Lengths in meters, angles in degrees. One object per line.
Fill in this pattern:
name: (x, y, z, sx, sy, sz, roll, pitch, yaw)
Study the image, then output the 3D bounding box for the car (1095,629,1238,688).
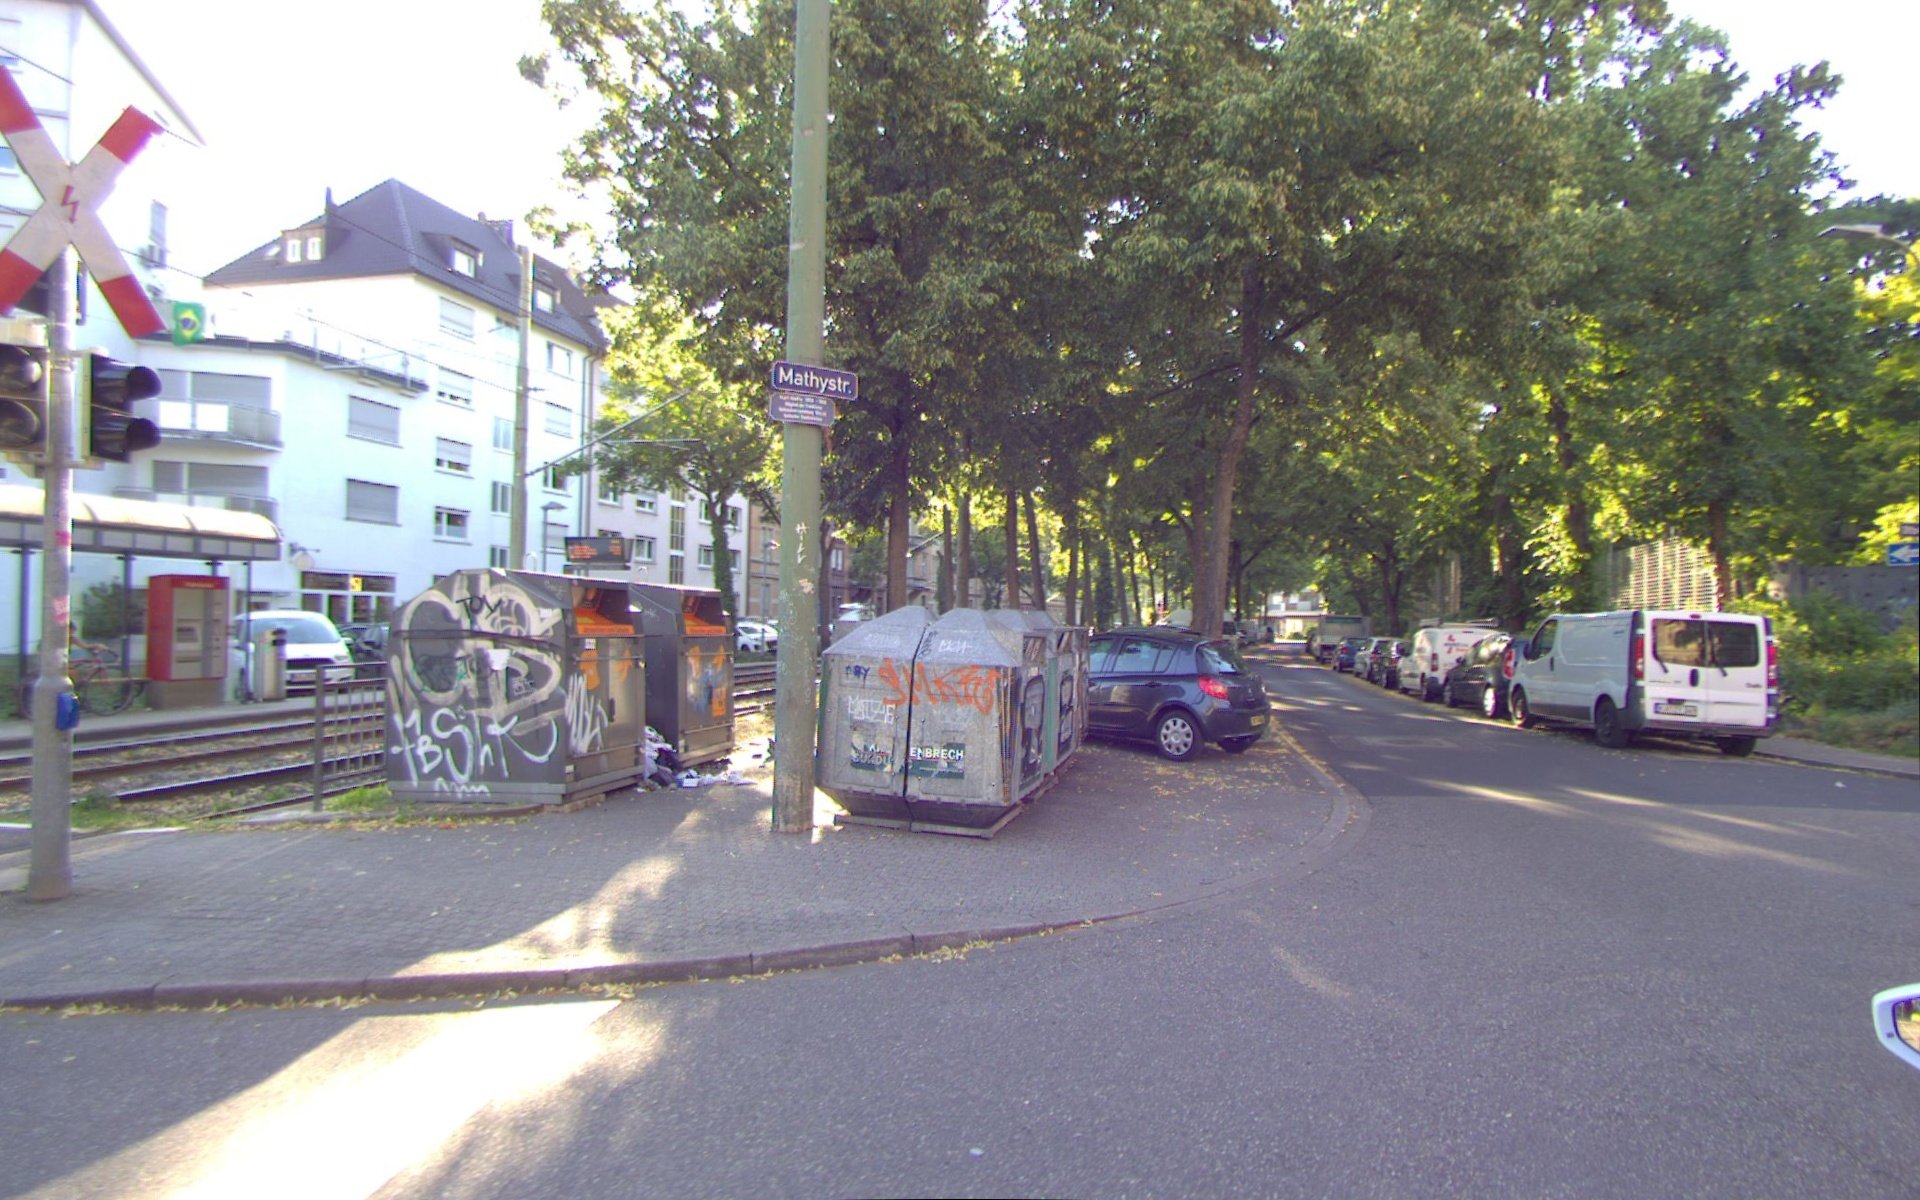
car: (6.165, 1.728, 30.101, 3.767, 1.409, 1.732, 3, -1, 36)

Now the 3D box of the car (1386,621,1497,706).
car: (11.876, 1.505, 25.006, 1.544, 1.929, 3.905, 1, -1, 11)

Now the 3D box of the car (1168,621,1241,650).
car: (15.182, 2.176, 62.444, 1.807, 1.493, 4.041, 5, -1, -42)

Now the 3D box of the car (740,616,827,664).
car: (-7.380, 1.670, 41.678, 1.840, 1.771, 4.198, -1, -3, -37)

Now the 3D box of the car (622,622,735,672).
car: (-9.458, 1.584, 33.604, 4.181, 1.477, 1.599, -5, -3, 41)

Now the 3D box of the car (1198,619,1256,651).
car: (21.162, 2.741, 79.744, 1.807, 2.239, 4.041, 5, -1, -42)

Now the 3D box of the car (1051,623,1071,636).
car: (13.824, 4.037, 137.223, 1.683, 1.844, 4.000, -1, -1, 21)

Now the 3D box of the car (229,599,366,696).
car: (-12.959, 0.962, 19.530, 1.596, 1.674, 4.190, -1, -3, -42)

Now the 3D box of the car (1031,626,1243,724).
car: (3.282, 1.342, 18.919, 3.564, 1.466, 1.600, 3, 0, 40)

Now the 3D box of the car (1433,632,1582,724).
car: (11.018, 1.501, 20.468, 1.544, 1.659, 3.714, 1, -1, 10)

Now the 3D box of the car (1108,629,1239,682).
car: (6.990, 1.815, 33.014, 3.767, 1.409, 1.732, 3, -1, 36)

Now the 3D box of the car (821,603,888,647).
car: (-7.210, 1.735, 69.430, 2.510, 2.925, 5.482, -1, -1, 19)

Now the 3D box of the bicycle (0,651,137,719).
bicycle: (-11.920, 1.095, 13.284, 0.441, 0.794, 1.644, 1, -1, 15)

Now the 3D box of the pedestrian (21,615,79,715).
pedestrian: (-12.253, 0.862, 13.530, 0.331, 1.318, 0.452, 1, -1, 14)

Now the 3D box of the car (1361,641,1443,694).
car: (13.061, 1.944, 29.856, 1.544, 1.404, 3.603, 1, -1, 13)

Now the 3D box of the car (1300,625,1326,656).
car: (23.167, 2.649, 65.881, 1.545, 1.967, 3.601, 0, -1, 19)

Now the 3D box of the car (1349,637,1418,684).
car: (14.472, 2.029, 34.497, 1.544, 1.486, 3.603, 1, -1, 13)

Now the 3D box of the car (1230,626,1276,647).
car: (29.733, 3.688, 102.007, 1.807, 1.812, 4.041, 5, -1, -42)

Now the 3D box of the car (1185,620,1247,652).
car: (18.813, 2.629, 73.965, 1.807, 2.066, 4.041, 5, -1, -42)

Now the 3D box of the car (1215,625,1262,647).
car: (26.909, 3.476, 97.103, 1.807, 1.812, 4.041, 5, -1, -42)

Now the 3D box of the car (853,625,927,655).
car: (-4.001, 2.253, 56.599, 1.846, 1.492, 4.186, 0, -4, -45)

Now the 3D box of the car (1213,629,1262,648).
car: (26.058, 3.630, 94.340, 1.807, 1.493, 4.041, 5, -1, -42)

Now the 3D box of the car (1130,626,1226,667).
car: (9.687, 2.060, 44.755, 3.767, 1.501, 1.732, 3, -1, 36)

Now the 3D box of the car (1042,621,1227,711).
car: (3.714, 1.359, 21.679, 3.565, 1.583, 1.600, 3, 0, 41)

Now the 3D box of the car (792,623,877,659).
car: (-6.074, 1.980, 48.216, 1.846, 1.492, 4.186, 0, -4, -45)

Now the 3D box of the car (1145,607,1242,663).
car: (11.780, 1.744, 50.828, 1.807, 2.508, 4.444, 5, -1, -42)

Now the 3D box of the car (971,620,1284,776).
car: (2.088, 1.149, 13.083, 3.679, 1.541, 1.600, 3, 0, 40)

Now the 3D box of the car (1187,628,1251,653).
car: (18.369, 2.862, 71.359, 1.807, 1.493, 4.041, 5, -1, -42)

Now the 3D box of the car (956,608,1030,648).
car: (2.390, 2.086, 73.345, 2.258, 2.605, 5.201, 0, -4, -45)

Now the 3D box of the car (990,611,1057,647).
car: (5.099, 2.344, 81.466, 2.258, 2.605, 5.201, 0, -4, -45)

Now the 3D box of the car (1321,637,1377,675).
car: (15.443, 2.200, 40.033, 1.544, 1.403, 3.603, 1, -1, 13)

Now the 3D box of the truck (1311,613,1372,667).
truck: (17.968, 1.865, 47.497, 2.326, 2.383, 4.385, 0, -1, 17)

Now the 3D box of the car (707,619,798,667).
car: (-8.169, 1.701, 39.225, 1.840, 1.672, 4.198, -1, -3, -37)

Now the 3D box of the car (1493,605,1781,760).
car: (10.277, 1.154, 15.768, 1.911, 2.029, 4.663, 1, -1, 8)
